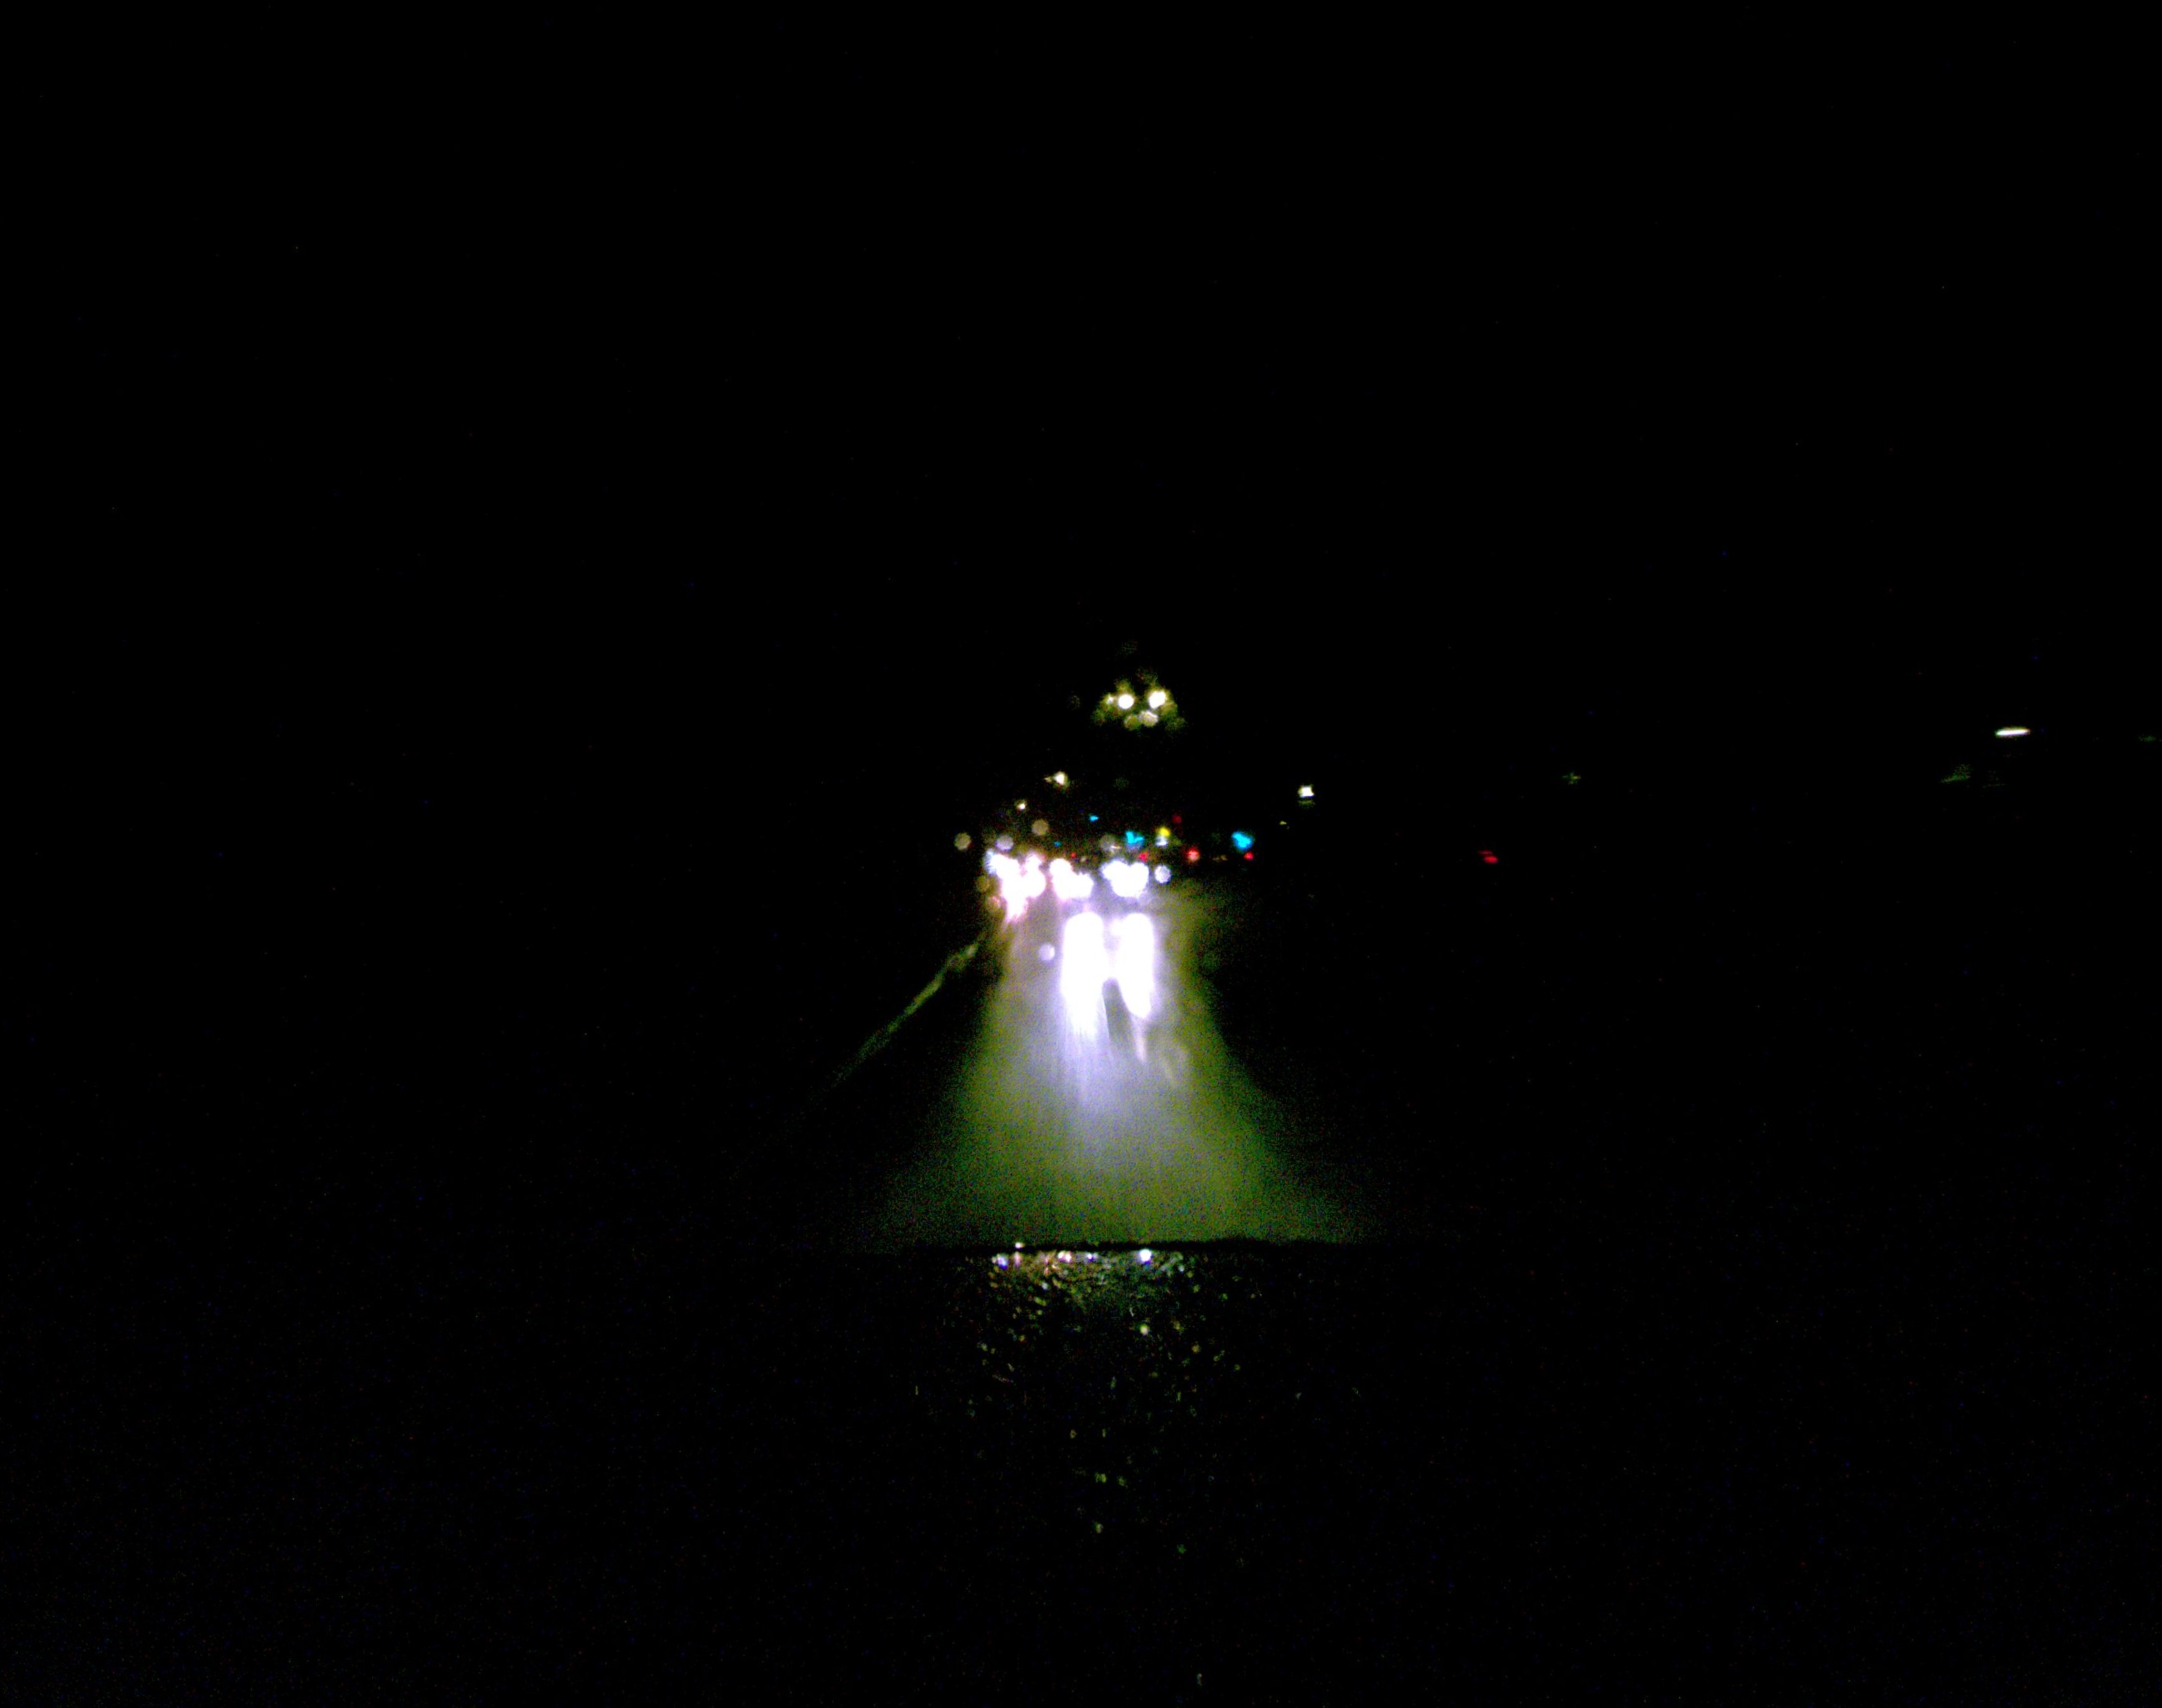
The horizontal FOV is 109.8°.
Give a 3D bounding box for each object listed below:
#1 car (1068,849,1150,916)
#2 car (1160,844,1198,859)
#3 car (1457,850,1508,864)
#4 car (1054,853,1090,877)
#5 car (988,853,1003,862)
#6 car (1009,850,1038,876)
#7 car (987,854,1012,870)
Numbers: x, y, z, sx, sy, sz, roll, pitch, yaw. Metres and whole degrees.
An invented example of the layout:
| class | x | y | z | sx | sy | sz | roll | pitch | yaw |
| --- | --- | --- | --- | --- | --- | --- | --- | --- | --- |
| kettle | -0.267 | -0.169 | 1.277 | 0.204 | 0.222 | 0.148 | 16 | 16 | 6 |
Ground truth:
| class | x | y | z | sx | sy | sz | roll | pitch | yaw |
| --- | --- | --- | --- | --- | --- | --- | --- | --- | --- |
| car | 0.716 | 0.744 | 22.708 | 1.915 | 1.694 | 4.936 | -2 | 1 | -4 |
| car | 13.598 | -0.382 | 105.554 | 4.912 | 1.929 | 2.003 | -1 | 2 | 25 |
| car | 43.700 | 0.319 | 82.744 | 2.002 | 1.390 | 4.544 | -3 | 2 | -27 |
| car | -0.667 | 0.726 | 52.126 | 2.000 | 1.456 | 3.996 | -2 | 2 | -7 |
| car | -15.879 | 0.588 | 140.956 | 1.706 | 1.562 | 4.703 | -2 | 1 | -19 |
| car | -4.358 | 0.638 | 57.337 | 1.878 | 1.825 | 4.202 | -2 | 1 | -8 |
| car | -8.782 | 0.856 | 81.440 | 2.001 | 1.456 | 3.994 | -2 | 2 | -15 |
